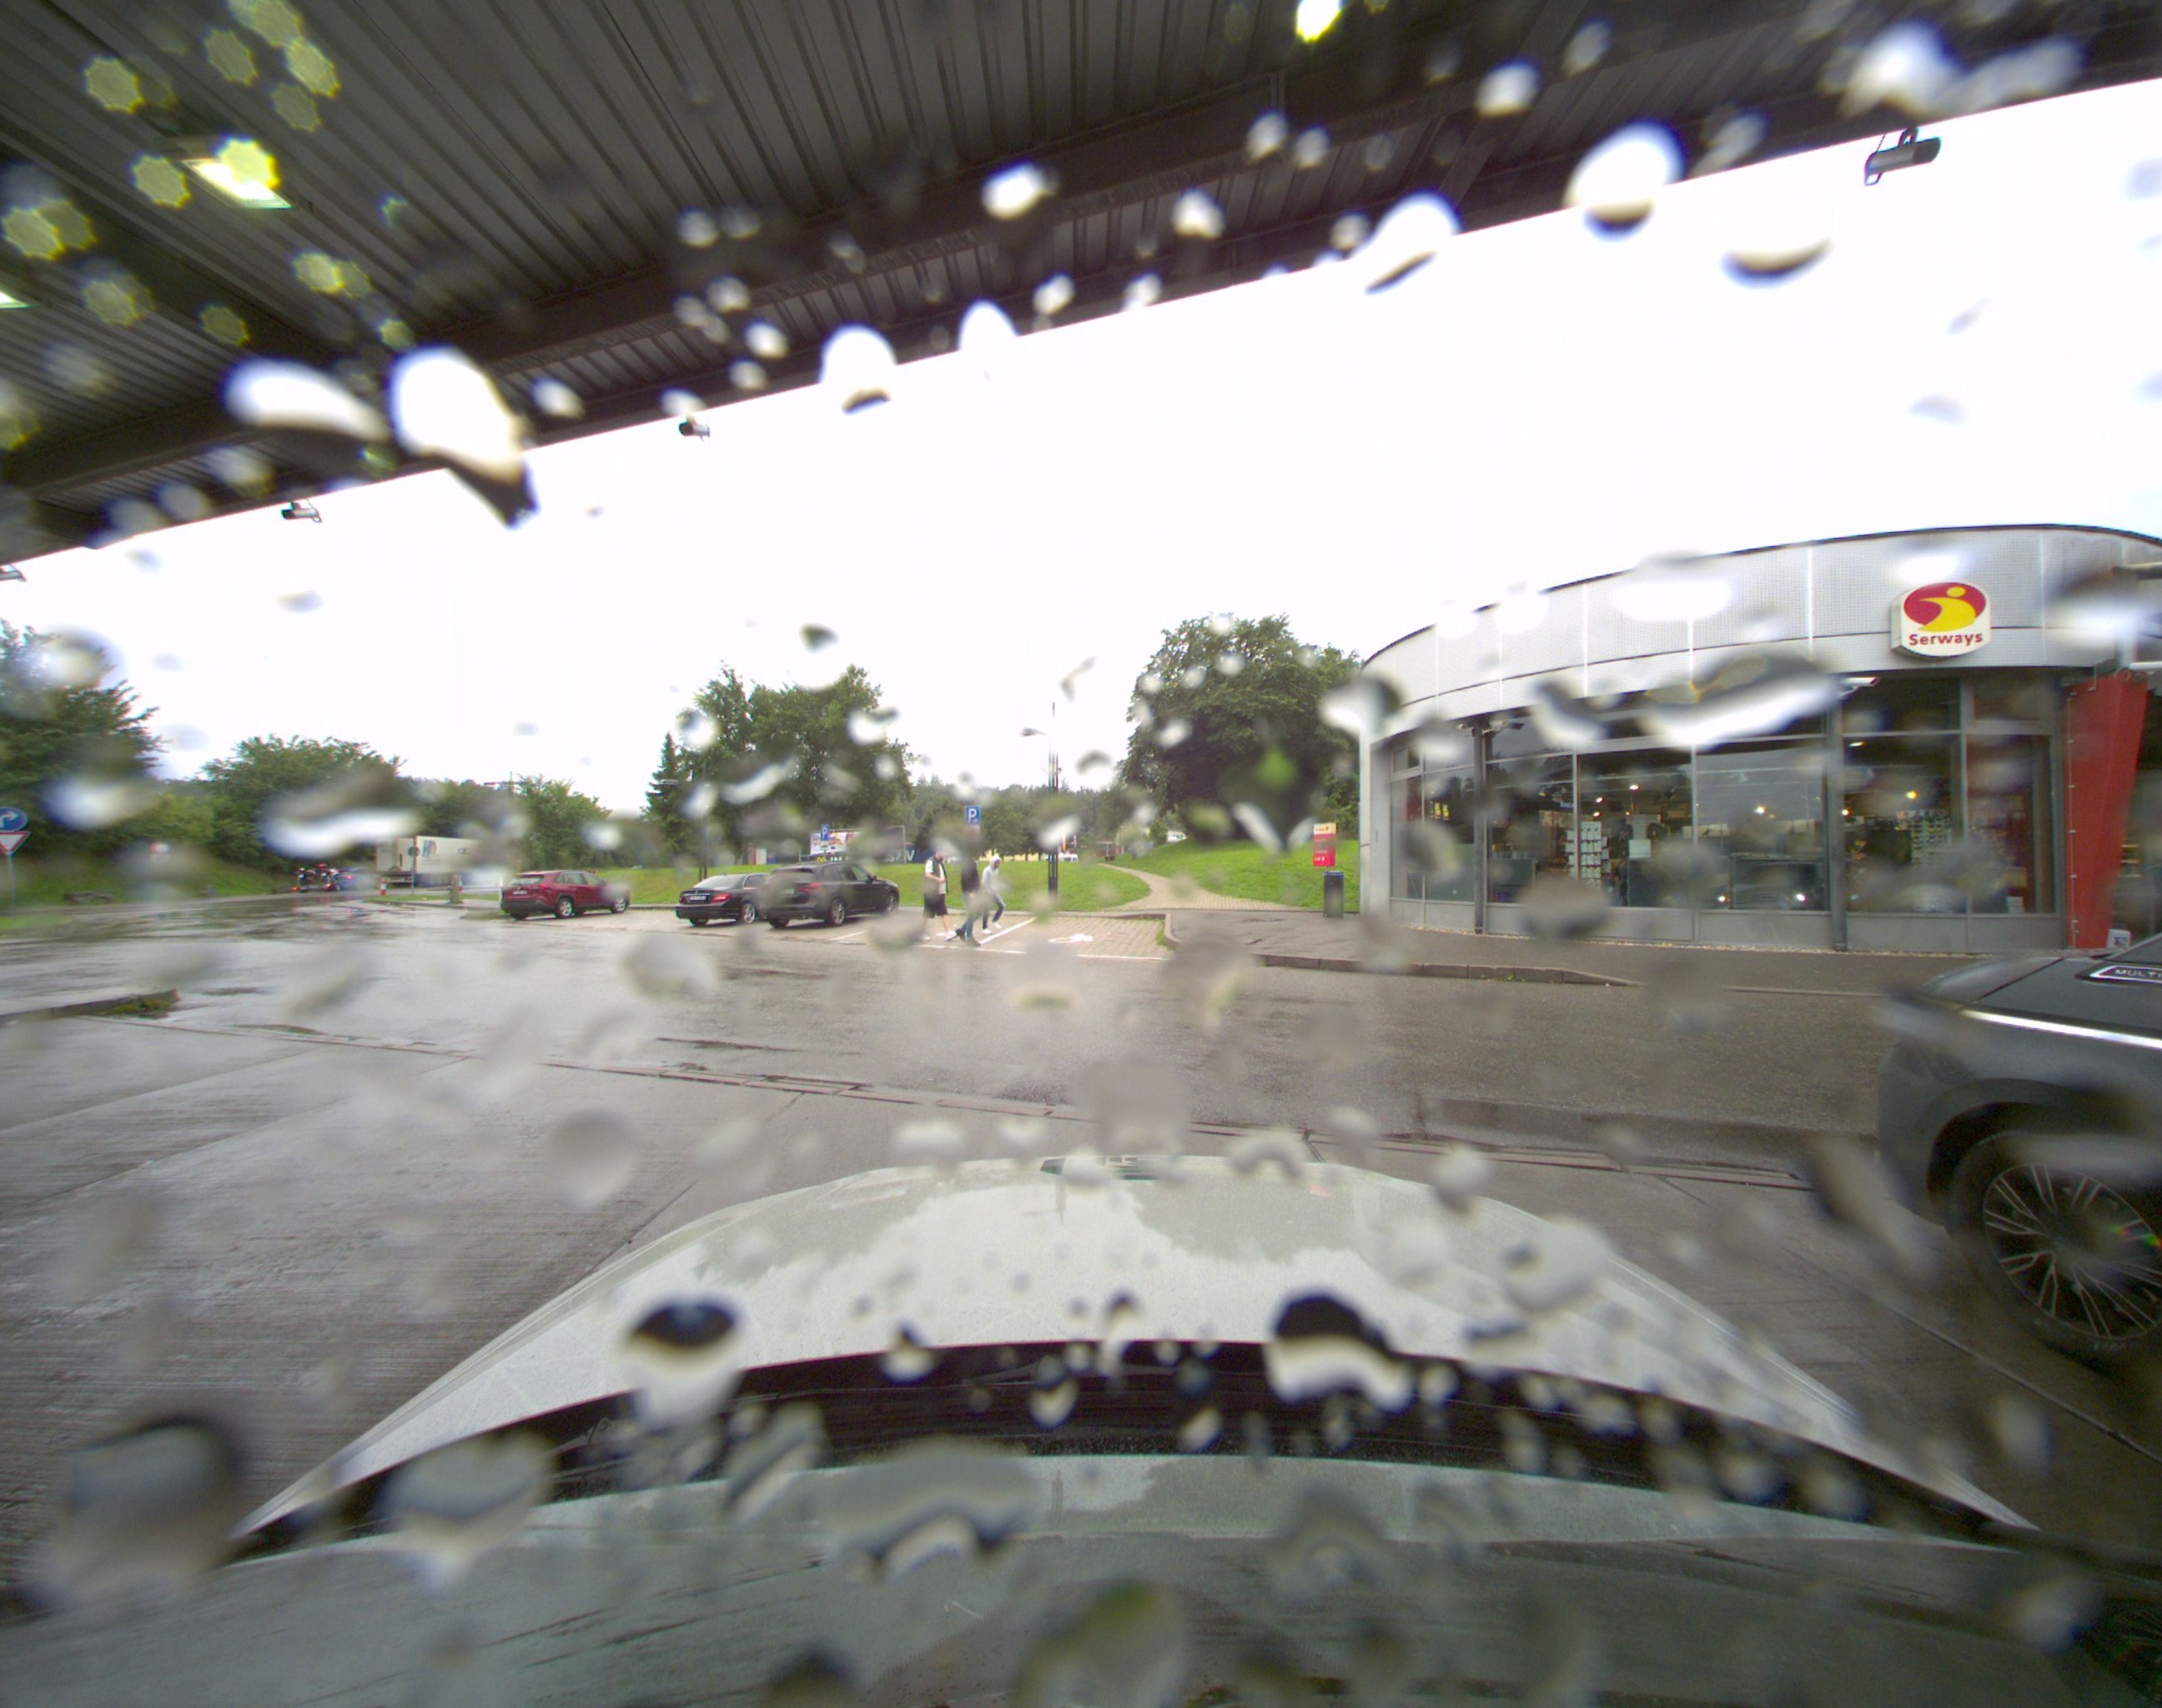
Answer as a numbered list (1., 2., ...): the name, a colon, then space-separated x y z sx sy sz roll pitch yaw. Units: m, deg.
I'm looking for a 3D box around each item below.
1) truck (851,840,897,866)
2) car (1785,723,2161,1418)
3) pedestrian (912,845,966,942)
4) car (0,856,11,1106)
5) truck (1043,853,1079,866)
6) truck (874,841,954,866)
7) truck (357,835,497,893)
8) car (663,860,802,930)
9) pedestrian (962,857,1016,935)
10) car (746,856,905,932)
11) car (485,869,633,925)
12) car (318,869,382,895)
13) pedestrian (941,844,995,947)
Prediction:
1. truck: -24.192 -0.088 95.447 2.165 2.920 5.419 -1 -1 27
2. car: 3.672 0.542 0.670 1.854 1.798 5.142 0 -1 2
3. pedestrian: -2.835 0.773 16.322 0.947 1.887 0.704 0 -1 2
4. car: -7.970 0.802 2.668 1.854 1.608 5.273 0 -1 2
5. truck: -3.256 0.876 134.097 5.356 2.014 2.381 -1 -1 26
6. truck: -20.759 -0.057 102.338 2.165 2.920 13.175 -1 -1 26
7. truck: -55.450 0.838 69.967 3.550 4.340 16.899 0 -1 -18
8. car: -9.838 1.081 23.416 2.010 1.711 4.344 -2 0 1
9. pedestrian: -1.959 0.875 17.381 0.944 1.631 0.707 -1 -1 15
10. car: -6.652 0.970 21.772 2.002 1.711 4.360 -2 0 14
11. car: -18.141 1.441 28.584 1.928 1.644 4.352 -2 0 7
12. car: -50.349 1.878 56.163 1.814 1.681 3.927 0 -1 -18
13. pedestrian: -2.120 0.767 15.315 0.887 1.887 0.704 0 -1 2
